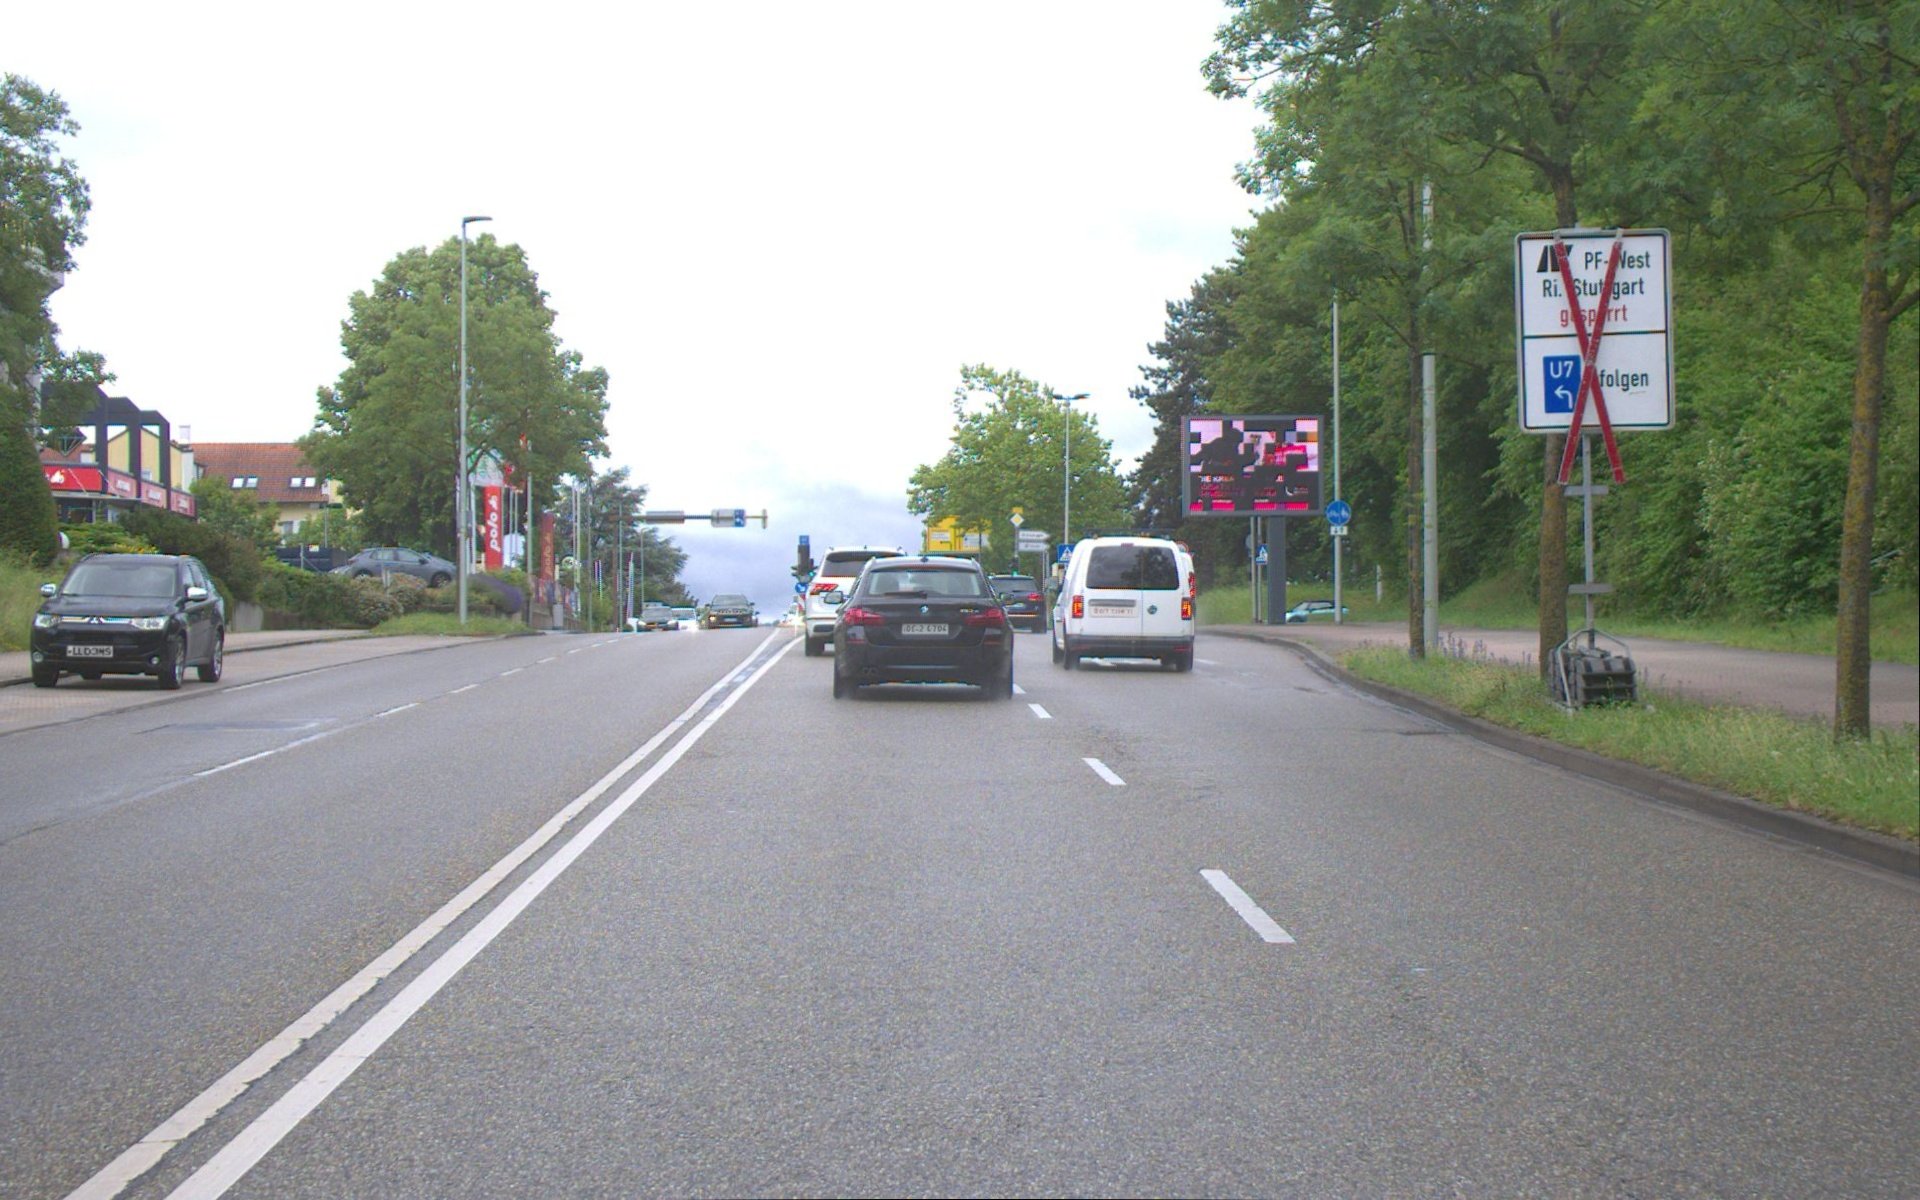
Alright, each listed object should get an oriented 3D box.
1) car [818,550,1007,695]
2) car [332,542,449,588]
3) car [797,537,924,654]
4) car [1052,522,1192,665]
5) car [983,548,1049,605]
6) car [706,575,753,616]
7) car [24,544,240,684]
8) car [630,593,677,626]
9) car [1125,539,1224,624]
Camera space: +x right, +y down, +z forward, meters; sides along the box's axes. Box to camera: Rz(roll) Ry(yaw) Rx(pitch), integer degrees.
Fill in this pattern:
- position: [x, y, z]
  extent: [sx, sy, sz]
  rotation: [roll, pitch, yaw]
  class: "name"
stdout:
- position: [-0.446, 0.194, 36.252]
  extent: [1.855, 1.414, 3.957]
  rotation: [1, 1, 1]
  class: "car"
- position: [-19.076, -1.174, 115.201]
  extent: [3.825, 1.477, 1.742]
  rotation: [0, 0, -8]
  class: "car"
- position: [-1.492, -0.091, 52.685]
  extent: [1.728, 1.705, 3.382]
  rotation: [1, 1, 2]
  class: "car"
- position: [2.190, -0.116, 47.365]
  extent: [1.741, 1.863, 3.946]
  rotation: [1, 1, 0]
  class: "car"
- position: [1.406, -0.616, 87.067]
  extent: [1.600, 1.367, 3.680]
  rotation: [-1, 1, 0]
  class: "car"
- position: [-9.431, -0.189, 141.032]
  extent: [1.795, 1.578, 4.199]
  rotation: [-1, 1, -3]
  class: "car"
- position: [-10.492, 0.136, 43.841]
  extent: [1.726, 1.662, 4.488]
  rotation: [1, 1, -1]
  class: "car"
- position: [-13.719, 0.432, 154.092]
  extent: [1.793, 1.397, 4.300]
  rotation: [-2, 0, -1]
  class: "car"
- position: [4.404, -0.396, 71.045]
  extent: [1.814, 1.702, 3.946]
  rotation: [0, 1, 0]
  class: "car"
